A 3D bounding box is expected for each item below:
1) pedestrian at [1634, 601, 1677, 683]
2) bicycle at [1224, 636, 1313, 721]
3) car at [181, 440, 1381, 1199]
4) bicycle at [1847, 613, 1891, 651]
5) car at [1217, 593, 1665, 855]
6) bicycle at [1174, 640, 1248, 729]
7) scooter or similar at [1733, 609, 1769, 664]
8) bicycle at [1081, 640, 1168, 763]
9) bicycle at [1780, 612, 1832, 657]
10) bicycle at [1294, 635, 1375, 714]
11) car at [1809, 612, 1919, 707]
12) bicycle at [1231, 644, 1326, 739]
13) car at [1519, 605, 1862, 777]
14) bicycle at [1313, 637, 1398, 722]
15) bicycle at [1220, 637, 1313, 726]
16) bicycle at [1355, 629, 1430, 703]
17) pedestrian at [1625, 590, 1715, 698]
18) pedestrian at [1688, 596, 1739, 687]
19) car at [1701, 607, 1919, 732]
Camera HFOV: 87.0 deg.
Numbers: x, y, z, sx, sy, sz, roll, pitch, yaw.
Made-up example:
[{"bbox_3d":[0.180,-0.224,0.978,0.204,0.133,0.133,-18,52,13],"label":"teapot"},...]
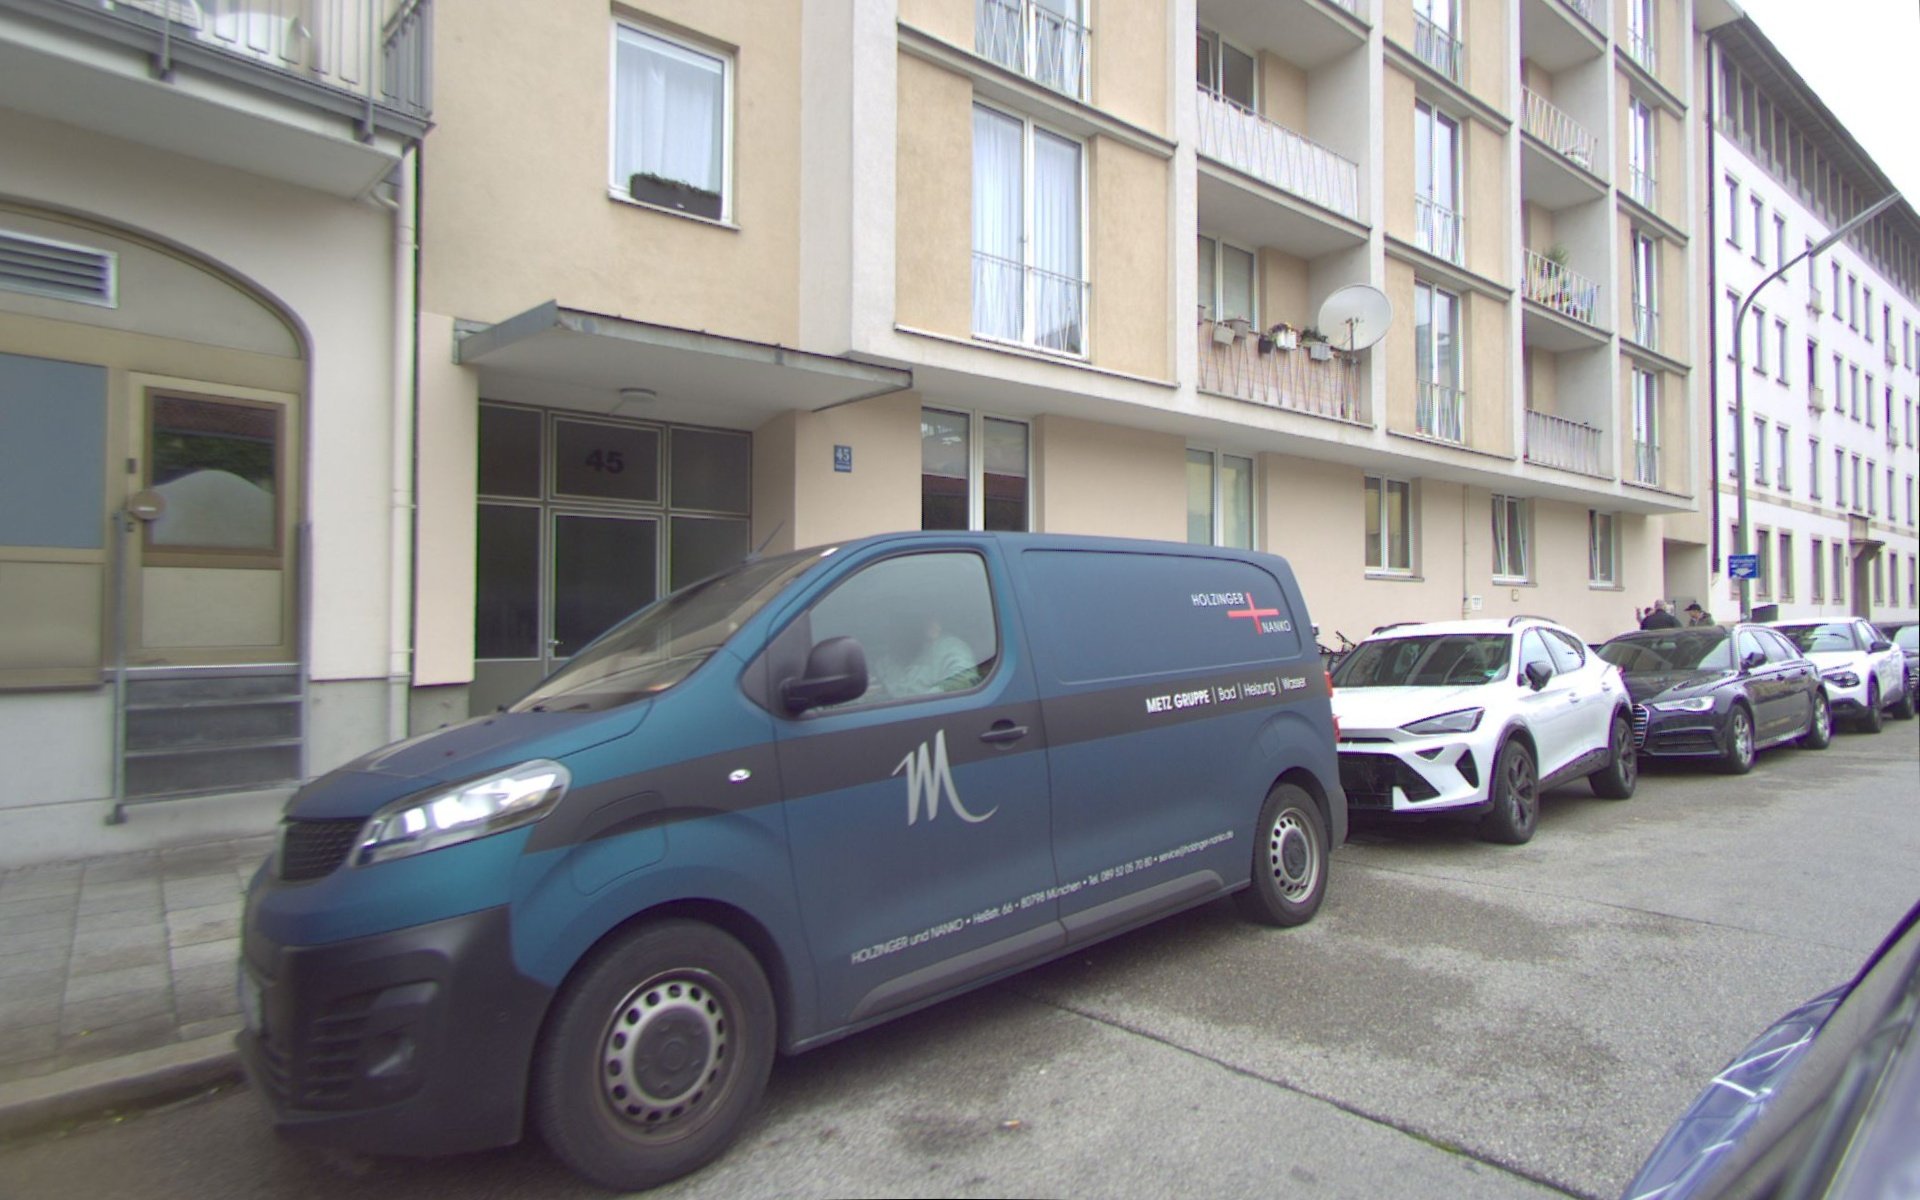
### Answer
[{"bbox_3d":[13.789,0.819,20.059,0.550,1.605,0.533,0,-1,-37],"label":"pedestrian"},{"bbox_3d":[4.096,1.014,13.411,1.375,1.036,0.391,1,0,-38],"label":"bicycle"},{"bbox_3d":[-0.309,0.642,4.452,4.849,1.840,1.966,0,-4,-41],"label":"car"},{"bbox_3d":[28.733,0.991,31.980,1.990,1.141,0.661,1,0,-37],"label":"bicycle"},{"bbox_3d":[4.031,0.809,8.129,4.201,1.558,1.740,0,-5,-43],"label":"car"},{"bbox_3d":[3.151,1.037,12.681,0.983,1.036,0.374,1,0,-38],"label":"bicycle"},{"bbox_3d":[19.646,0.896,25.139,0.599,1.267,1.022,1,3,44],"label":"scooter or similar"},{"bbox_3d":[1.740,1.008,10.552,0.709,1.148,1.422,-1,-1,17],"label":"bicycle"},{"bbox_3d":[23.127,0.923,27.664,1.990,1.178,0.661,1,0,-37],"label":"bicycle"},{"bbox_3d":[5.274,1.024,14.212,1.375,1.036,0.391,1,0,-38],"label":"bicycle"},{"bbox_3d":[15.998,0.944,16.966,4.401,1.439,1.799,1,-4,-39],"label":"car"},{"bbox_3d":[3.826,1.065,12.112,1.277,1.036,0.424,1,0,-38],"label":"bicycle"},{"bbox_3d":[8.149,0.880,11.153,4.412,1.519,1.743,0,-4,-37],"label":"car"},{"bbox_3d":[5.227,1.026,13.346,1.375,1.036,0.391,1,0,-38],"label":"bicycle"},{"bbox_3d":[3.865,0.997,12.718,1.375,1.036,0.391,1,0,-38],"label":"bicycle"},{"bbox_3d":[6.458,0.961,15.093,1.375,1.036,0.391,1,0,-38],"label":"bicycle"},{"bbox_3d":[11.758,0.701,16.762,1.295,1.709,0.900,1,0,-38],"label":"pedestrian"},{"bbox_3d":[14.202,0.771,19.083,0.619,1.675,0.598,0,-1,-37],"label":"pedestrian"},{"bbox_3d":[12.239,0.906,14.320,4.143,1.519,1.742,1,-4,-39],"label":"car"}]
